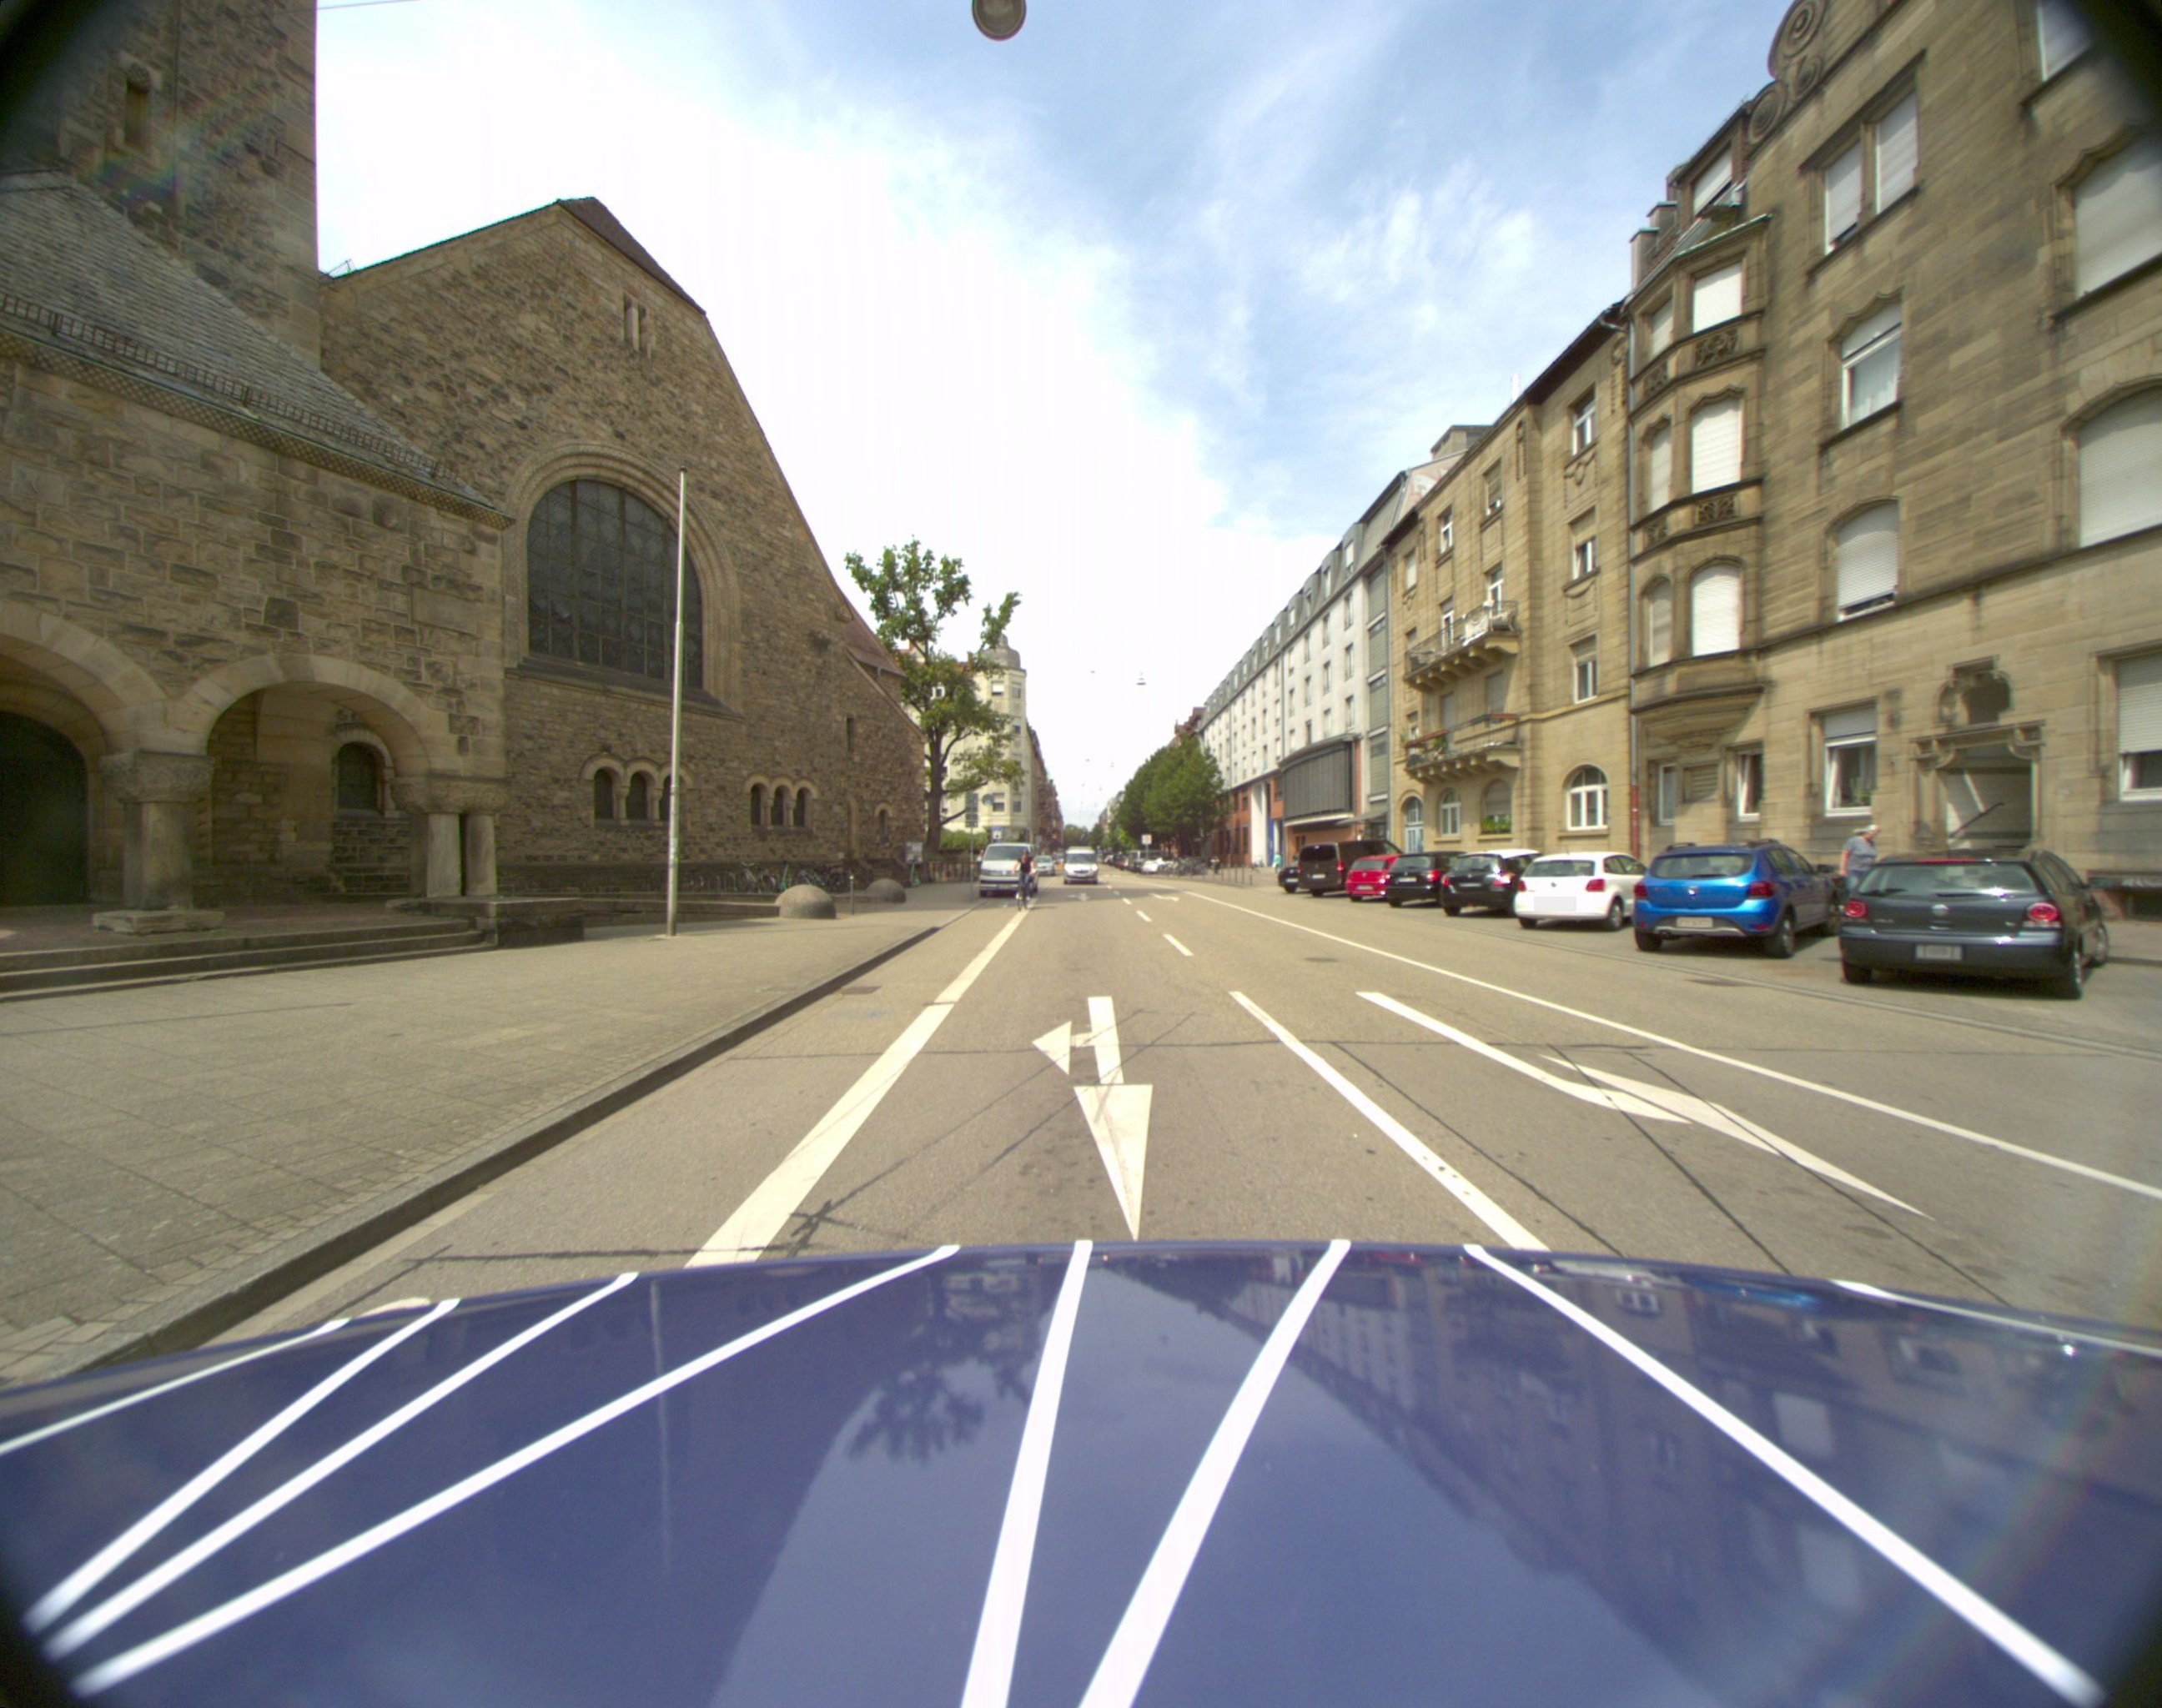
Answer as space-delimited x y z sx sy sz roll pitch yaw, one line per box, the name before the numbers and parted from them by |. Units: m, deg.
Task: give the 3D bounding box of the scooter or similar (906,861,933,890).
scooter or similar | -6.832 0.885 32.228 0.545 1.200 1.444 0 0 13

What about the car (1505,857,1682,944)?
car | 10.152 0.816 14.990 3.693 1.473 1.737 -1 0 -36

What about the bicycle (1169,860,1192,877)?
bicycle | 6.606 0.945 50.524 1.409 1.032 0.402 -3 0 2

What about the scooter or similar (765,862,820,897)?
scooter or similar | -9.567 0.846 25.188 1.778 1.133 0.547 0 0 19

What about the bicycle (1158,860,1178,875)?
bicycle | 6.431 1.013 56.142 1.409 1.020 0.402 -3 0 2

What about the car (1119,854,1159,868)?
car | 6.215 0.713 80.751 4.013 1.445 1.687 -1 -1 -33

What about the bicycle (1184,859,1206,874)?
bicycle | 7.966 0.885 53.067 1.409 1.020 0.402 -1 1 2

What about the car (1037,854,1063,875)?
car | -2.177 0.728 54.110 1.759 1.460 4.418 0 0 -1

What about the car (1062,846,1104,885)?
car | 0.157 0.607 40.022 1.942 1.913 4.007 -1 -1 4

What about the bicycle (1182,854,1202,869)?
bicycle | 7.869 0.521 53.881 1.409 1.020 0.402 -1 1 2

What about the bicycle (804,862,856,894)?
bicycle | -8.873 0.831 26.870 1.771 1.105 0.547 0 0 19

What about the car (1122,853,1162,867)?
car | 6.331 0.596 78.539 4.013 1.381 1.592 -1 -1 -33

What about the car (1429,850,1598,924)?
car | 10.313 0.716 18.071 4.019 1.555 1.792 -1 0 -32

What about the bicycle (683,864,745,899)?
bicycle | -10.910 0.818 22.580 1.778 0.952 0.547 2 1 19

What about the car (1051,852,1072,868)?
car | -2.115 0.653 82.662 1.853 1.661 4.007 -1 -1 4

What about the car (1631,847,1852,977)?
car | 10.058 0.738 11.494 3.785 1.642 1.720 -1 0 -36

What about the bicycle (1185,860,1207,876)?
bicycle | 7.882 0.956 52.046 1.409 1.020 0.402 -1 1 2

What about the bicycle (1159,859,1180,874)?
bicycle | 6.425 0.936 55.333 1.409 1.020 0.402 -3 0 2

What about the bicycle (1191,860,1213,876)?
bicycle | 8.092 0.936 50.803 1.409 1.020 0.402 -1 1 2

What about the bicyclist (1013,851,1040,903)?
bicyclist | -1.510 0.637 21.358 0.649 1.408 1.094 -1 0 1

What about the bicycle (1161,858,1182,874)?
bicycle | 6.412 0.861 54.060 1.409 1.020 0.402 -3 0 2

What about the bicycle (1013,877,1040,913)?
bicycle | -1.523 1.137 21.277 0.586 0.927 1.783 -1 -1 1

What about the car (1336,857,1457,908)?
car | 9.912 0.833 23.784 4.020 1.401 1.792 -1 0 -39

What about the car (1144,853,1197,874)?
car | 6.986 0.714 59.164 4.013 1.536 1.598 -1 0 -34

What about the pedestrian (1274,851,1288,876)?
pedestrian | 11.682 0.563 44.365 0.662 1.477 0.509 -1 1 -2

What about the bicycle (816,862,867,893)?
bicycle | -8.674 0.829 27.490 1.778 1.105 0.547 0 0 19

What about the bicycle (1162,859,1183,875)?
bicycle | 6.422 0.939 53.418 1.409 1.032 0.402 -3 0 2

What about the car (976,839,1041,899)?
car | -2.604 0.515 28.451 2.020 2.017 5.122 1 0 -1

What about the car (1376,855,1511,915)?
car | 10.095 0.793 21.072 4.004 1.494 1.627 -1 0 -35

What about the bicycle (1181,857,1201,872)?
bicycle | 7.871 0.733 54.368 1.409 1.020 0.402 -1 1 2

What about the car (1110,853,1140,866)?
car | 6.435 0.761 110.994 4.013 1.847 1.687 -1 0 -33

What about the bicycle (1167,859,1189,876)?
bicycle | 6.543 0.898 51.417 1.409 1.032 0.402 -3 0 2

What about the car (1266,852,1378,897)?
car | 9.547 0.780 29.927 4.679 1.401 1.895 -4 0 -39

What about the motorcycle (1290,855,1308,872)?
motorcycle | 13.775 0.618 47.979 0.585 1.042 1.657 -2 0 -1

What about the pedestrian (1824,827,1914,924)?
pedestrian | 13.520 0.364 13.050 0.793 1.585 0.678 -3 1 0

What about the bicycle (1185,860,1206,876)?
bicycle | 7.904 0.961 52.582 1.409 1.020 0.402 -1 1 2

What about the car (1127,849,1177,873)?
car | 6.312 0.594 67.341 4.011 1.986 1.857 -2 1 -28

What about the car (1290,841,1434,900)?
car | 10.039 0.523 26.980 5.280 1.899 2.116 -1 0 -34

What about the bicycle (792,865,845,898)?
bicycle | -9.096 0.943 26.294 1.778 1.105 0.547 0 0 19

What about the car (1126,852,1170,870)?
car | 6.441 0.673 73.024 4.013 1.605 1.708 -1 0 -33

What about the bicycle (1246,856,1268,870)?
bicycle | 13.613 0.704 58.823 1.613 0.920 0.932 -6 -1 12

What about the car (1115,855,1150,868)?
car | 6.208 0.884 91.543 4.013 1.558 1.687 -1 0 -33

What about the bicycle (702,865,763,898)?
bicycle | -10.638 0.825 23.201 1.778 0.951 0.547 0 0 19

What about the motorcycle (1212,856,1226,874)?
motorcycle | 9.298 0.728 51.186 0.585 1.166 1.779 -2 0 2

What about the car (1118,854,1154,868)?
car | 6.482 0.851 89.006 4.013 1.558 1.687 -1 0 -33

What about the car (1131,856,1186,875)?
car | 6.315 0.903 61.532 4.324 1.460 1.713 -1 0 -34

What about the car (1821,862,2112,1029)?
car | 10.178 0.833 8.669 3.911 1.435 1.832 -1 0 -36

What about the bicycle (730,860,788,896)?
bicycle | -10.202 0.740 24.054 1.778 1.105 0.547 0 0 19
